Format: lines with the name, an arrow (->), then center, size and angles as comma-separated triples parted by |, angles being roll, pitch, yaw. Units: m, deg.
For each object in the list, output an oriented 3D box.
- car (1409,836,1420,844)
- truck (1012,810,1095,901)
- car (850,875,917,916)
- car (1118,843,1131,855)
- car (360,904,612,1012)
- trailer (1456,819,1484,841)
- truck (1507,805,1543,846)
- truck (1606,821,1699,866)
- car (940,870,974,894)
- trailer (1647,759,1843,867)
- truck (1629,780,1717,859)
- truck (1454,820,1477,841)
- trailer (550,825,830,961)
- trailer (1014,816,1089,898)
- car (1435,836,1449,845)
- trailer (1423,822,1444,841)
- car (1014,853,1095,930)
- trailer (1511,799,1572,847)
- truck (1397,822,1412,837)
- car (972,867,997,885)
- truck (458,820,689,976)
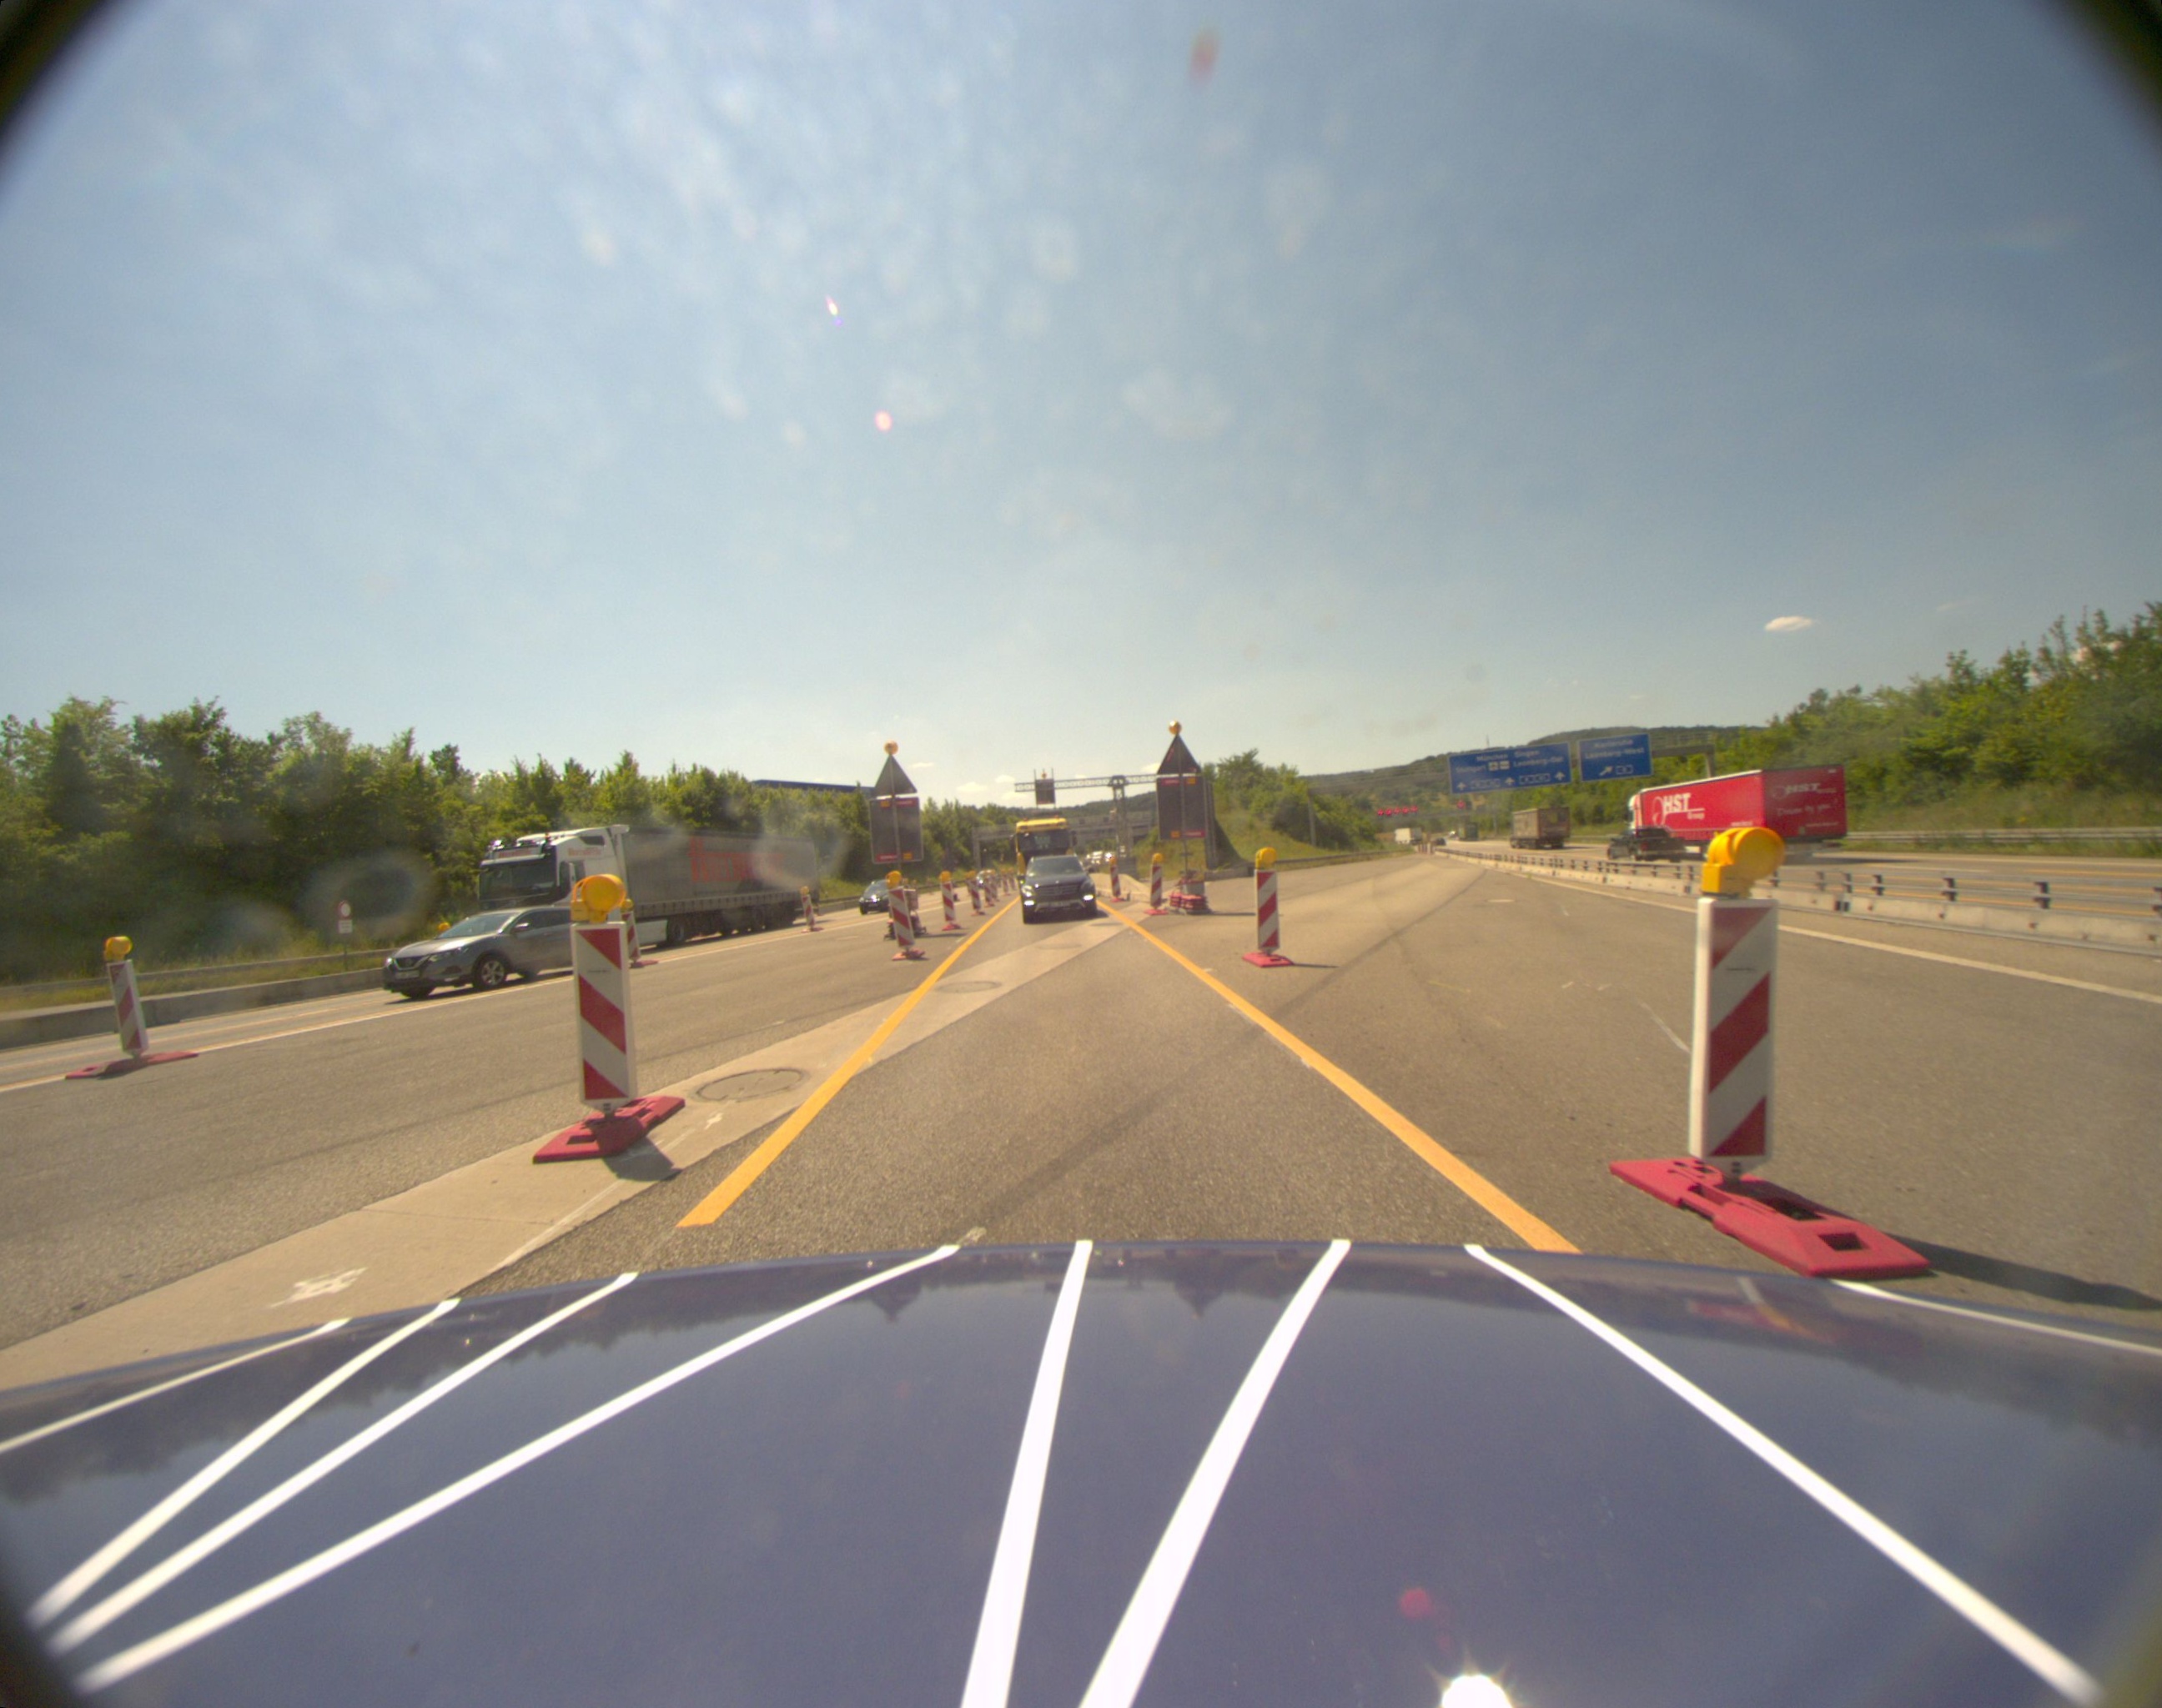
car -> 72.842, -3.002, 165.917 | 1.718, 1.614, 4.175 | -5, 0, 17
truck -> -1.418, 0.137, 36.431 | 3.230, 3.638, 7.082 | -6, -1, -4
car -> -10.125, 2.098, 39.343 | 1.819, 1.685, 4.495 | -6, 0, 5
car -> 9.220, -1.084, 162.468 | 2.441, 2.080, 5.308 | -6, 0, 1
car -> -12.261, 2.061, 16.064 | 1.709, 1.543, 4.033 | -6, 0, 7
trailer -> 84.259, -5.119, 164.948 | 3.550, 4.245, 13.925 | -5, 0, 21
truck -> 48.984, -3.132, 83.909 | 2.434, 4.245, 4.845 | -4, 0, 20
truck -> 27.231, -0.465, 36.417 | 1.996, 1.862, 4.767 | -4, -1, 18
car -> -10.838, 2.435, 66.879 | 1.819, 1.685, 4.494 | -7, 0, 4
trailer -> 30.839, -1.738, 36.273 | 2.340, 4.078, 13.279 | -4, 0, 20
truck -> 33.403, -1.885, 43.075 | 2.337, 4.084, 5.024 | -4, 0, 20
truck -> 86.748, -5.339, 171.504 | 3.550, 4.245, 5.786 | -5, 0, 21
trailer -> -14.380, 1.228, 30.359 | 2.546, 3.929, 13.874 | -6, -1, 5
trailer -> -1.969, 0.348, 45.253 | 3.237, 3.645, 17.420 | -6, -1, -4
car -> 64.881, -2.440, 136.583 | 1.718, 1.482, 3.692 | -4, 0, 17
trailer -> 87.726, -5.641, 189.256 | 3.550, 4.245, 13.925 | -5, 0, 21
car -> -0.644, 0.925, 20.820 | 1.819, 1.685, 4.493 | -6, 0, 0
trailer -> 46.568, -2.998, 77.311 | 2.438, 4.271, 13.827 | -4, 0, 20
truck -> 103.692, -7.842, 243.686 | 3.550, 4.245, 13.925 | -5, 0, 21
car -> -10.621, 2.376, 83.993 | 1.819, 1.685, 4.494 | -6, 0, 4
truck -> -15.002, 1.195, 23.076 | 2.533, 3.927, 5.601 | -6, -1, 5
